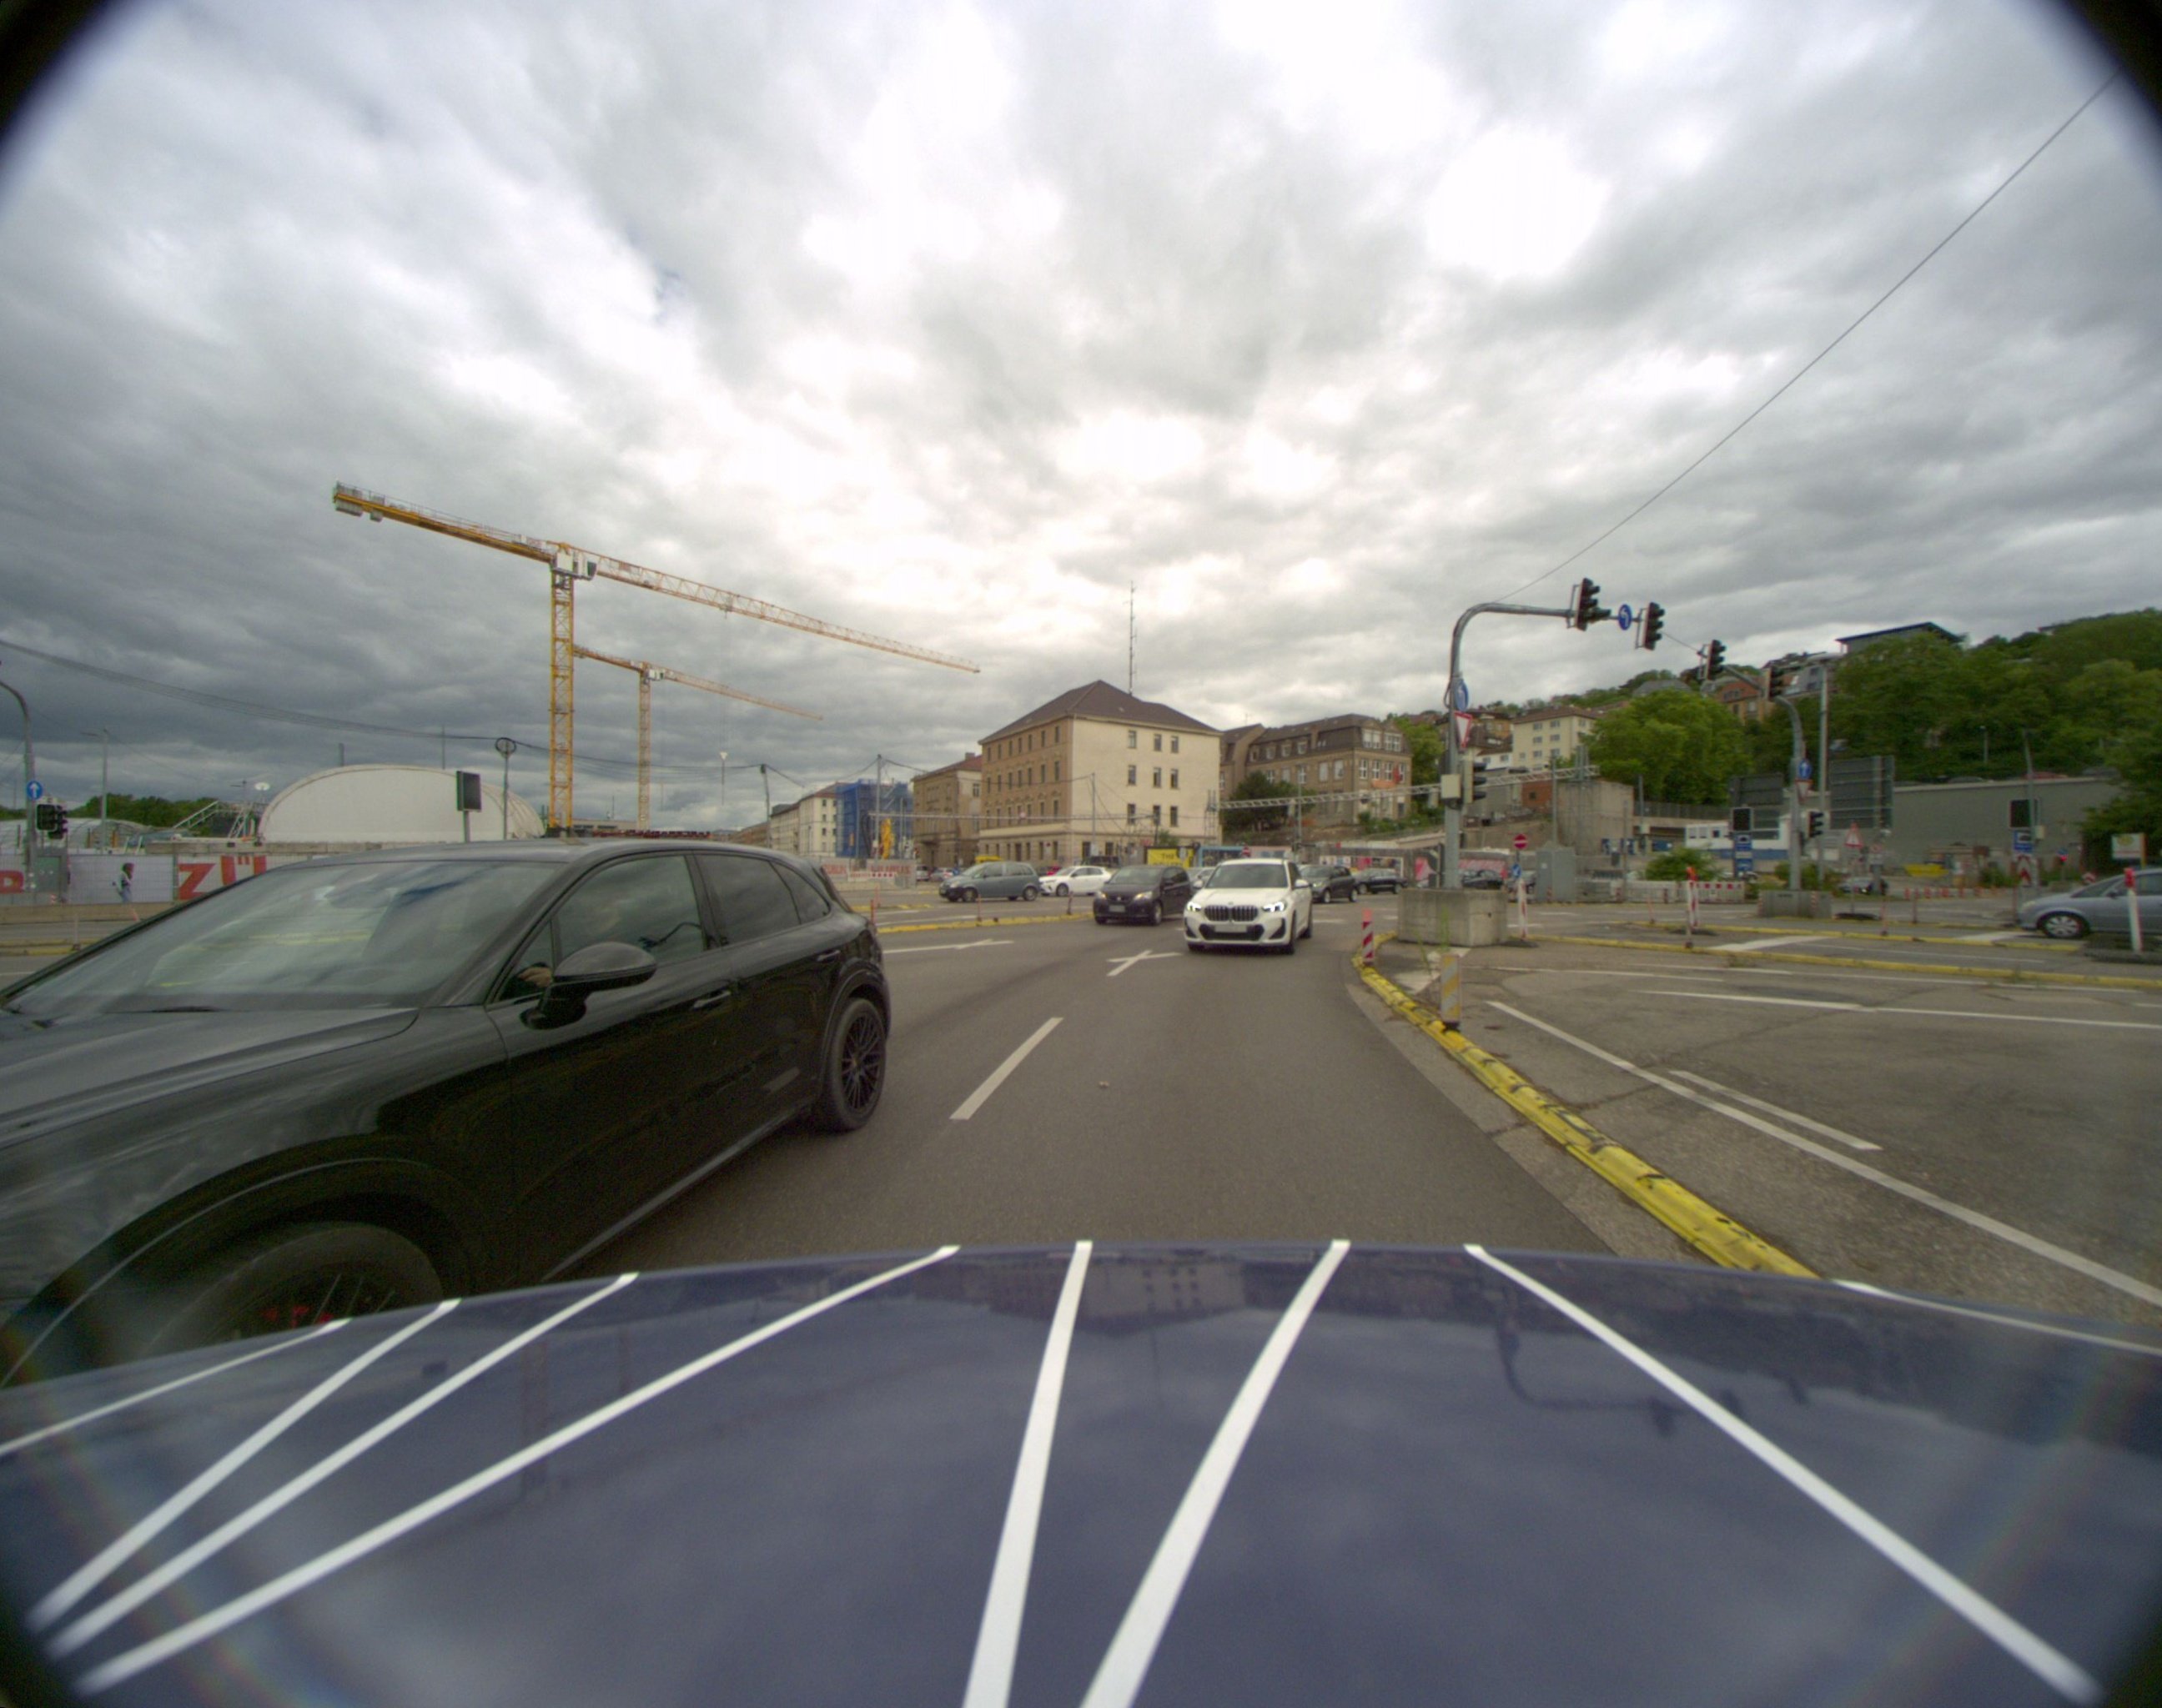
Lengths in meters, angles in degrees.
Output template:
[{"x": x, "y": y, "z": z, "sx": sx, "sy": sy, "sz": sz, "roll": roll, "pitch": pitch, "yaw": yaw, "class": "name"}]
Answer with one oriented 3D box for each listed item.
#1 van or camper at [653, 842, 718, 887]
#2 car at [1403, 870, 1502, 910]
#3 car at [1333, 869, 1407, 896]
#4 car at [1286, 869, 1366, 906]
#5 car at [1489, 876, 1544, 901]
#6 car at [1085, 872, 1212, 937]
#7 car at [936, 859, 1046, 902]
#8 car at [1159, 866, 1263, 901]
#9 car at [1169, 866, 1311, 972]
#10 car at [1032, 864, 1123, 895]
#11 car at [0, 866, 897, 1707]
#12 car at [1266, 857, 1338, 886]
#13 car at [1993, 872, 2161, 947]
[{"x": -20.662, "y": 0.510, "z": 39.885, "sx": 2.001, "sy": 2.214, "sz": 3.995, "roll": 0, "pitch": 1, "yaw": -12, "class": "van or camper"}, {"x": 15.814, "y": 1.488, "z": 32.316, "sx": 4.007, "sy": 1.543, "sz": 1.995, "roll": 1, "pitch": -1, "yaw": -33, "class": "car"}, {"x": 15.875, "y": 1.574, "z": 41.733, "sx": 3.709, "sy": 1.381, "sz": 1.724, "roll": 1, "pitch": -1, "yaw": -27, "class": "car"}, {"x": 10.017, "y": 1.347, "z": 30.988, "sx": 3.579, "sy": 1.411, "sz": 1.573, "roll": 2, "pitch": -1, "yaw": -44, "class": "car"}, {"x": 28.020, "y": 2.178, "z": 49.016, "sx": 1.874, "sy": 1.412, "sz": 4.108, "roll": -1, "pitch": 0, "yaw": 11, "class": "car"}, {"x": 1.907, "y": 1.228, "z": 19.970, "sx": 1.729, "sy": 1.461, "sz": 4.428, "roll": 1, "pitch": -1, "yaw": 28, "class": "car"}, {"x": -3.556, "y": 1.048, "z": 30.278, "sx": 3.961, "sy": 1.564, "sz": 1.689, "roll": -1, "pitch": -2, "yaw": -32, "class": "car"}, {"x": 6.195, "y": 1.393, "z": 36.063, "sx": 4.691, "sy": 1.569, "sz": 1.906, "roll": 1, "pitch": -1, "yaw": -31, "class": "car"}, {"x": 2.957, "y": 1.023, "z": 13.515, "sx": 1.809, "sy": 1.595, "sz": 3.719, "roll": 0, "pitch": -1, "yaw": 22, "class": "car"}, {"x": -0.146, "y": 1.193, "z": 36.543, "sx": 4.093, "sy": 1.407, "sz": 1.689, "roll": 0, "pitch": -1, "yaw": -30, "class": "car"}, {"x": -2.433, "y": 0.896, "z": 2.698, "sx": 1.955, "sy": 1.638, "sz": 4.611, "roll": 0, "pitch": 0, "yaw": 7, "class": "car"}, {"x": 12.671, "y": 1.016, "z": 43.520, "sx": 4.079, "sy": 1.564, "sz": 1.689, "roll": 1, "pitch": -2, "yaw": -32, "class": "car"}, {"x": 22.569, "y": 1.138, "z": 15.961, "sx": 1.774, "sy": 1.495, "sz": 4.122, "roll": 0, "pitch": -1, "yaw": -31, "class": "car"}]
